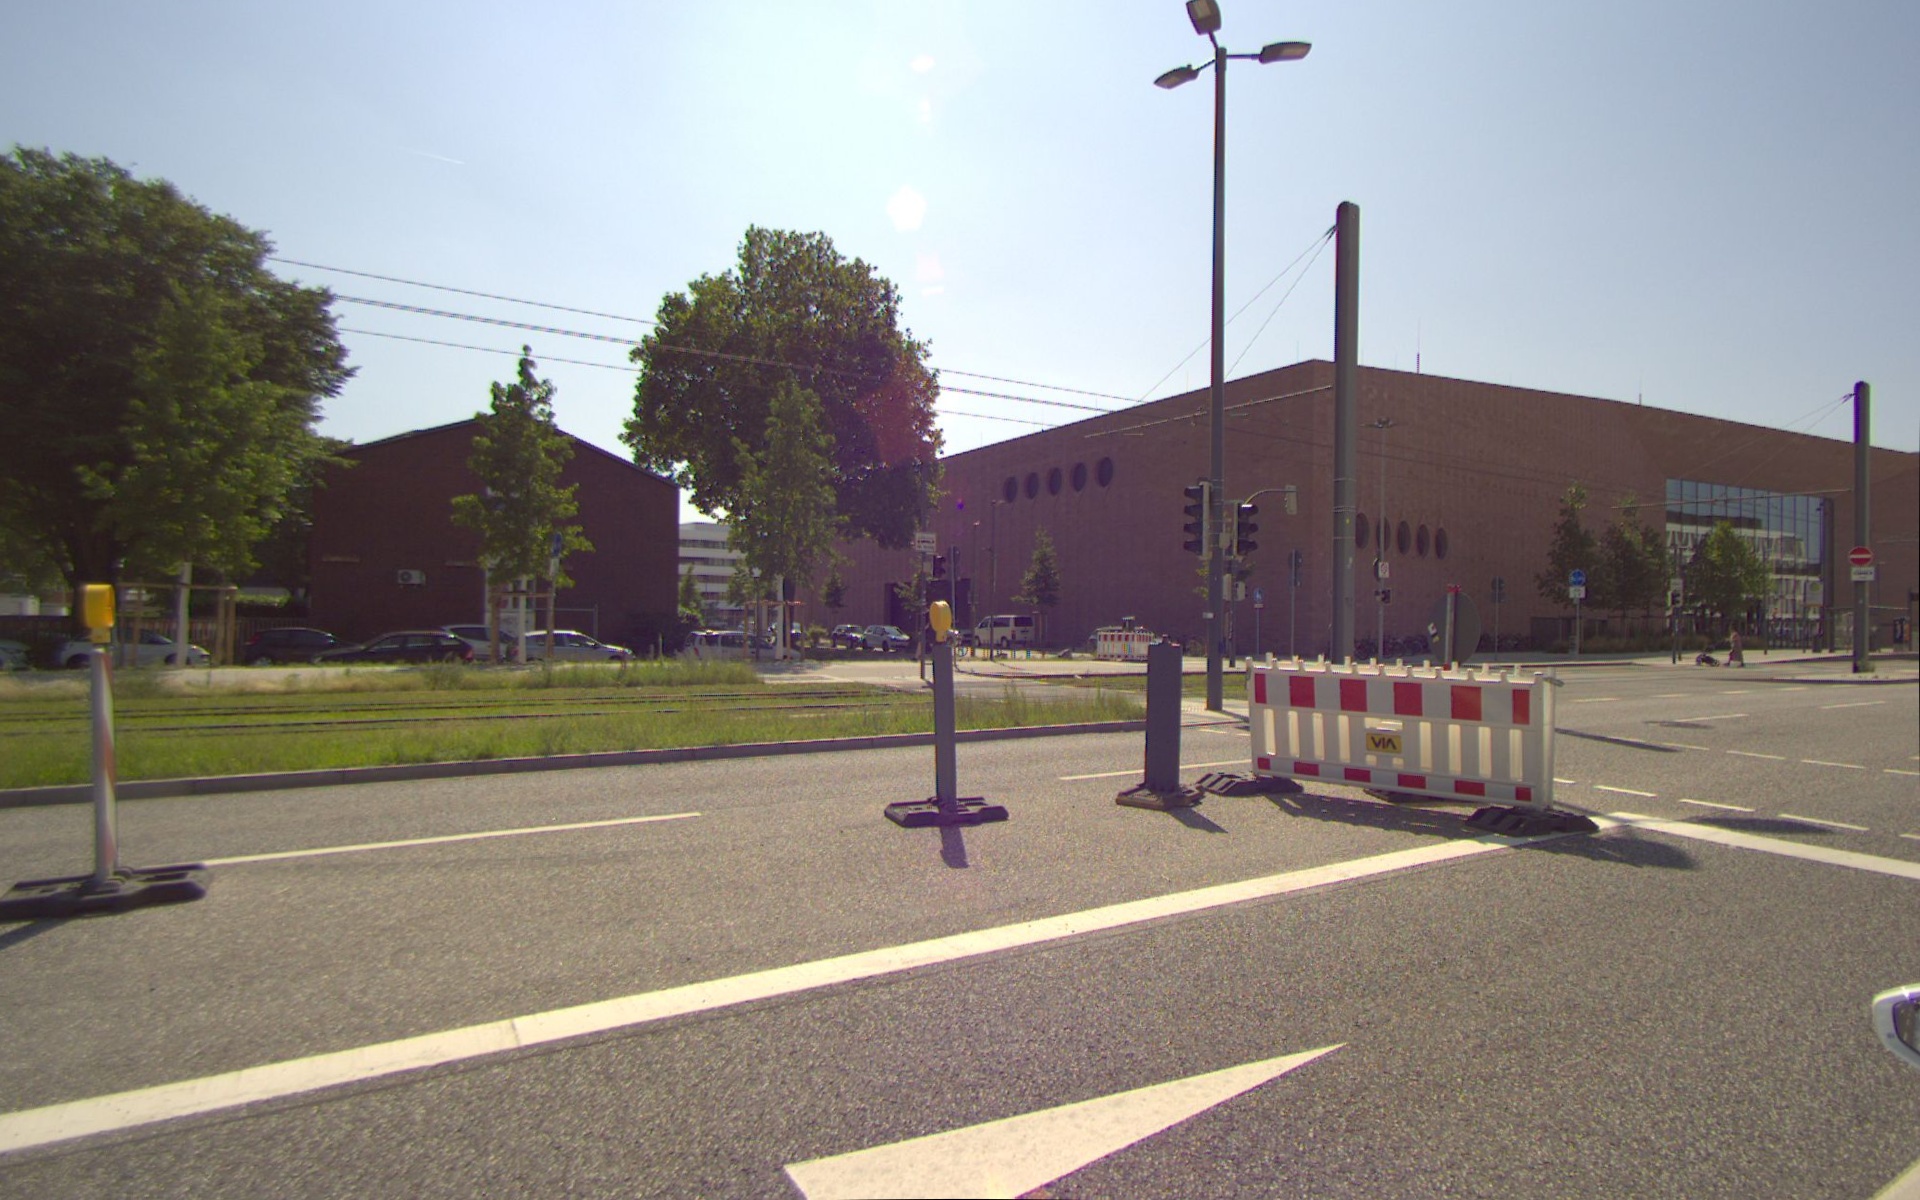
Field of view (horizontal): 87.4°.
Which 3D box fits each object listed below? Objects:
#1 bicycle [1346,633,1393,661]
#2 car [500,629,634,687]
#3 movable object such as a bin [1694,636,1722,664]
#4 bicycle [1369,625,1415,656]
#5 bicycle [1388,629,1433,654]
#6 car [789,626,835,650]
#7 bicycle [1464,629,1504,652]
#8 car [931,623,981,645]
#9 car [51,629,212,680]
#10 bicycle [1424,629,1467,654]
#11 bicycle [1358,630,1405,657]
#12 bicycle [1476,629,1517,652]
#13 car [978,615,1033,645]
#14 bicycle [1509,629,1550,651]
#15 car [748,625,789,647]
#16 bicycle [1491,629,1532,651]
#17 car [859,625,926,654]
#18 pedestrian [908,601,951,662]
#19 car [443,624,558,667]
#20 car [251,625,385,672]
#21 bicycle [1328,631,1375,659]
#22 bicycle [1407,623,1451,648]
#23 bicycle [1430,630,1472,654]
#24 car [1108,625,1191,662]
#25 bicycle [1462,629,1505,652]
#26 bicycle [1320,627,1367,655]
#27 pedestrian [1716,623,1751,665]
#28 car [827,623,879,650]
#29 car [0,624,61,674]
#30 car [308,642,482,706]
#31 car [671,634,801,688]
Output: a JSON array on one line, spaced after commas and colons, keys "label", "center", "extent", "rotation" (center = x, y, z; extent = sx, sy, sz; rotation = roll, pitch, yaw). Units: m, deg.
[{"label": "bicycle", "center": [19.418, 2.221, 47.696], "extent": [0.535, 1.228, 2.033], "rotation": [1, 0, -41]}, {"label": "car", "center": [-12.997, 1.908, 33.290], "extent": [3.895, 1.784, 1.689], "rotation": [2, -1, -31]}, {"label": "movable object such as a bin", "center": [29.539, 1.955, 39.675], "extent": [0.701, 1.045, 0.793], "rotation": [1, 0, 25]}, {"label": "bicycle", "center": [21.258, 1.972, 49.470], "extent": [0.535, 1.472, 2.033], "rotation": [1, 0, -41]}, {"label": "bicycle", "center": [22.788, 2.087, 50.803], "extent": [0.535, 1.228, 2.033], "rotation": [1, 0, -41]}, {"label": "car", "center": [-9.942, 2.542, 67.320], "extent": [1.973, 1.421, 3.974], "rotation": [2, -1, -25]}, {"label": "bicycle", "center": [29.830, 2.318, 57.201], "extent": [0.740, 1.228, 1.869], "rotation": [1, -1, -37]}, {"label": "car", "center": [-0.312, 2.226, 66.285], "extent": [1.694, 1.339, 3.478], "rotation": [2, -1, -32]}, {"label": "car", "center": [-25.868, 1.677, 31.537], "extent": [3.750, 1.476, 1.528], "rotation": [2, -1, -35]}, {"label": "bicycle", "center": [25.810, 2.210, 53.440], "extent": [0.535, 1.228, 2.033], "rotation": [1, 0, -41]}, {"label": "bicycle", "center": [20.307, 2.099, 48.426], "extent": [0.535, 1.228, 2.032], "rotation": [1, 0, -42]}, {"label": "bicycle", "center": [31.105, 2.327, 58.246], "extent": [0.535, 1.228, 2.033], "rotation": [1, 0, -41]}, {"label": "car", "center": [2.754, 1.804, 61.312], "extent": [1.674, 1.712, 3.526], "rotation": [1, 0, -30]}, {"label": "bicycle", "center": [33.905, 2.397, 59.839], "extent": [0.535, 1.228, 2.033], "rotation": [1, 0, -41]}, {"label": "car", "center": [-13.979, 2.619, 73.174], "extent": [1.973, 1.421, 3.974], "rotation": [2, -1, -25]}, {"label": "bicycle", "center": [32.681, 2.384, 59.559], "extent": [0.535, 1.228, 2.033], "rotation": [1, 0, -41]}, {"label": "car", "center": [-3.838, 2.210, 56.696], "extent": [1.981, 1.421, 3.960], "rotation": [3, -1, -35]}, {"label": "pedestrian", "center": [-0.952, 0.973, 31.322], "extent": [1.093, 1.871, 0.808], "rotation": [1, 0, -28]}, {"label": "car", "center": [-17.083, 1.665, 37.390], "extent": [3.744, 1.476, 1.530], "rotation": [1, 0, -31]}, {"label": "car", "center": [-21.773, 1.603, 34.143], "extent": [3.748, 1.476, 1.529], "rotation": [1, 0, -34]}, {"label": "bicycle", "center": [18.305, 2.075, 47.001], "extent": [0.535, 1.228, 2.033], "rotation": [1, 0, -41]}, {"label": "bicycle", "center": [24.518, 1.834, 52.565], "extent": [0.535, 1.228, 2.033], "rotation": [1, 0, -41]}, {"label": "bicycle", "center": [26.743, 2.269, 54.719], "extent": [0.535, 1.228, 2.033], "rotation": [1, 0, -41]}, {"label": "car", "center": [7.988, 1.827, 42.606], "extent": [1.555, 1.388, 3.460], "rotation": [1, 0, -31]}, {"label": "bicycle", "center": [29.231, 2.241, 56.107], "extent": [0.535, 1.228, 2.033], "rotation": [1, 0, -41]}, {"label": "bicycle", "center": [17.727, 1.876, 46.431], "extent": [0.535, 1.228, 2.033], "rotation": [1, -1, -41]}, {"label": "pedestrian", "center": [30.278, 1.703, 39.322], "extent": [0.915, 1.583, 0.793], "rotation": [1, 0, 25]}, {"label": "car", "center": [-6.572, 2.210, 61.288], "extent": [1.973, 1.421, 3.974], "rotation": [2, -1, -25]}, {"label": "car", "center": [-30.078, 1.462, 30.243], "extent": [4.219, 1.476, 1.530], "rotation": [1, 0, -31]}, {"label": "car", "center": [-17.224, 2.248, 30.790], "extent": [4.479, 1.784, 1.689], "rotation": [3, -1, -31]}, {"label": "car", "center": [-8.084, 2.207, 36.417], "extent": [4.252, 1.784, 1.689], "rotation": [3, -1, -31]}]
